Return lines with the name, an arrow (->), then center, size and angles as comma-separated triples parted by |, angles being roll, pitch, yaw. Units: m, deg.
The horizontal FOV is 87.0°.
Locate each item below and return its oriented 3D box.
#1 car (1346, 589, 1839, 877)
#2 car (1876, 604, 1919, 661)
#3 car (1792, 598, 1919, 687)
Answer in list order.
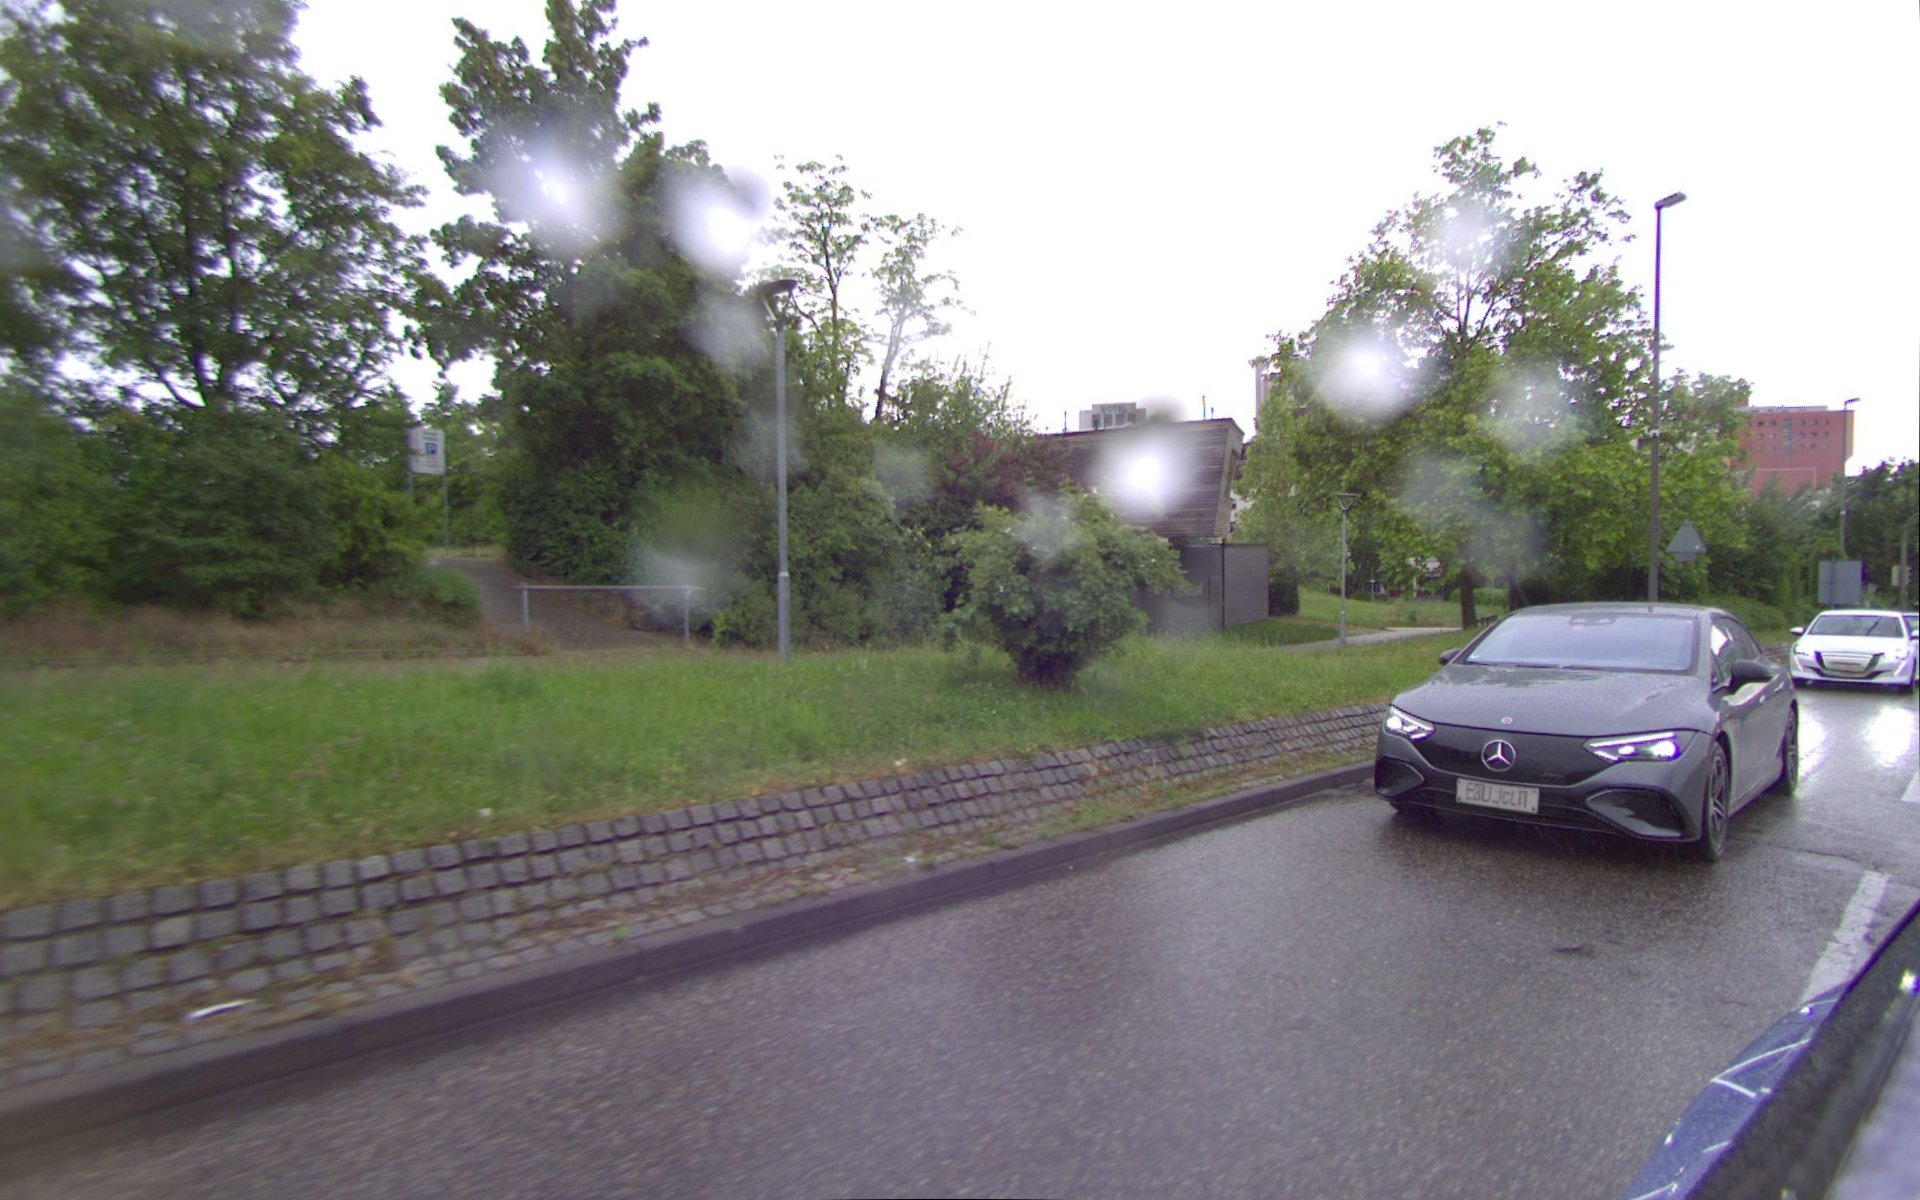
car -> 4.826, 0.678, 7.423 | 4.472, 1.462, 1.834 | -1, 0, -41
car -> 26.037, 0.837, 27.101 | 3.668, 1.394, 1.717 | -1, 0, -40
car -> 17.090, 0.715, 18.870 | 3.964, 1.415, 1.717 | -1, 0, -40
